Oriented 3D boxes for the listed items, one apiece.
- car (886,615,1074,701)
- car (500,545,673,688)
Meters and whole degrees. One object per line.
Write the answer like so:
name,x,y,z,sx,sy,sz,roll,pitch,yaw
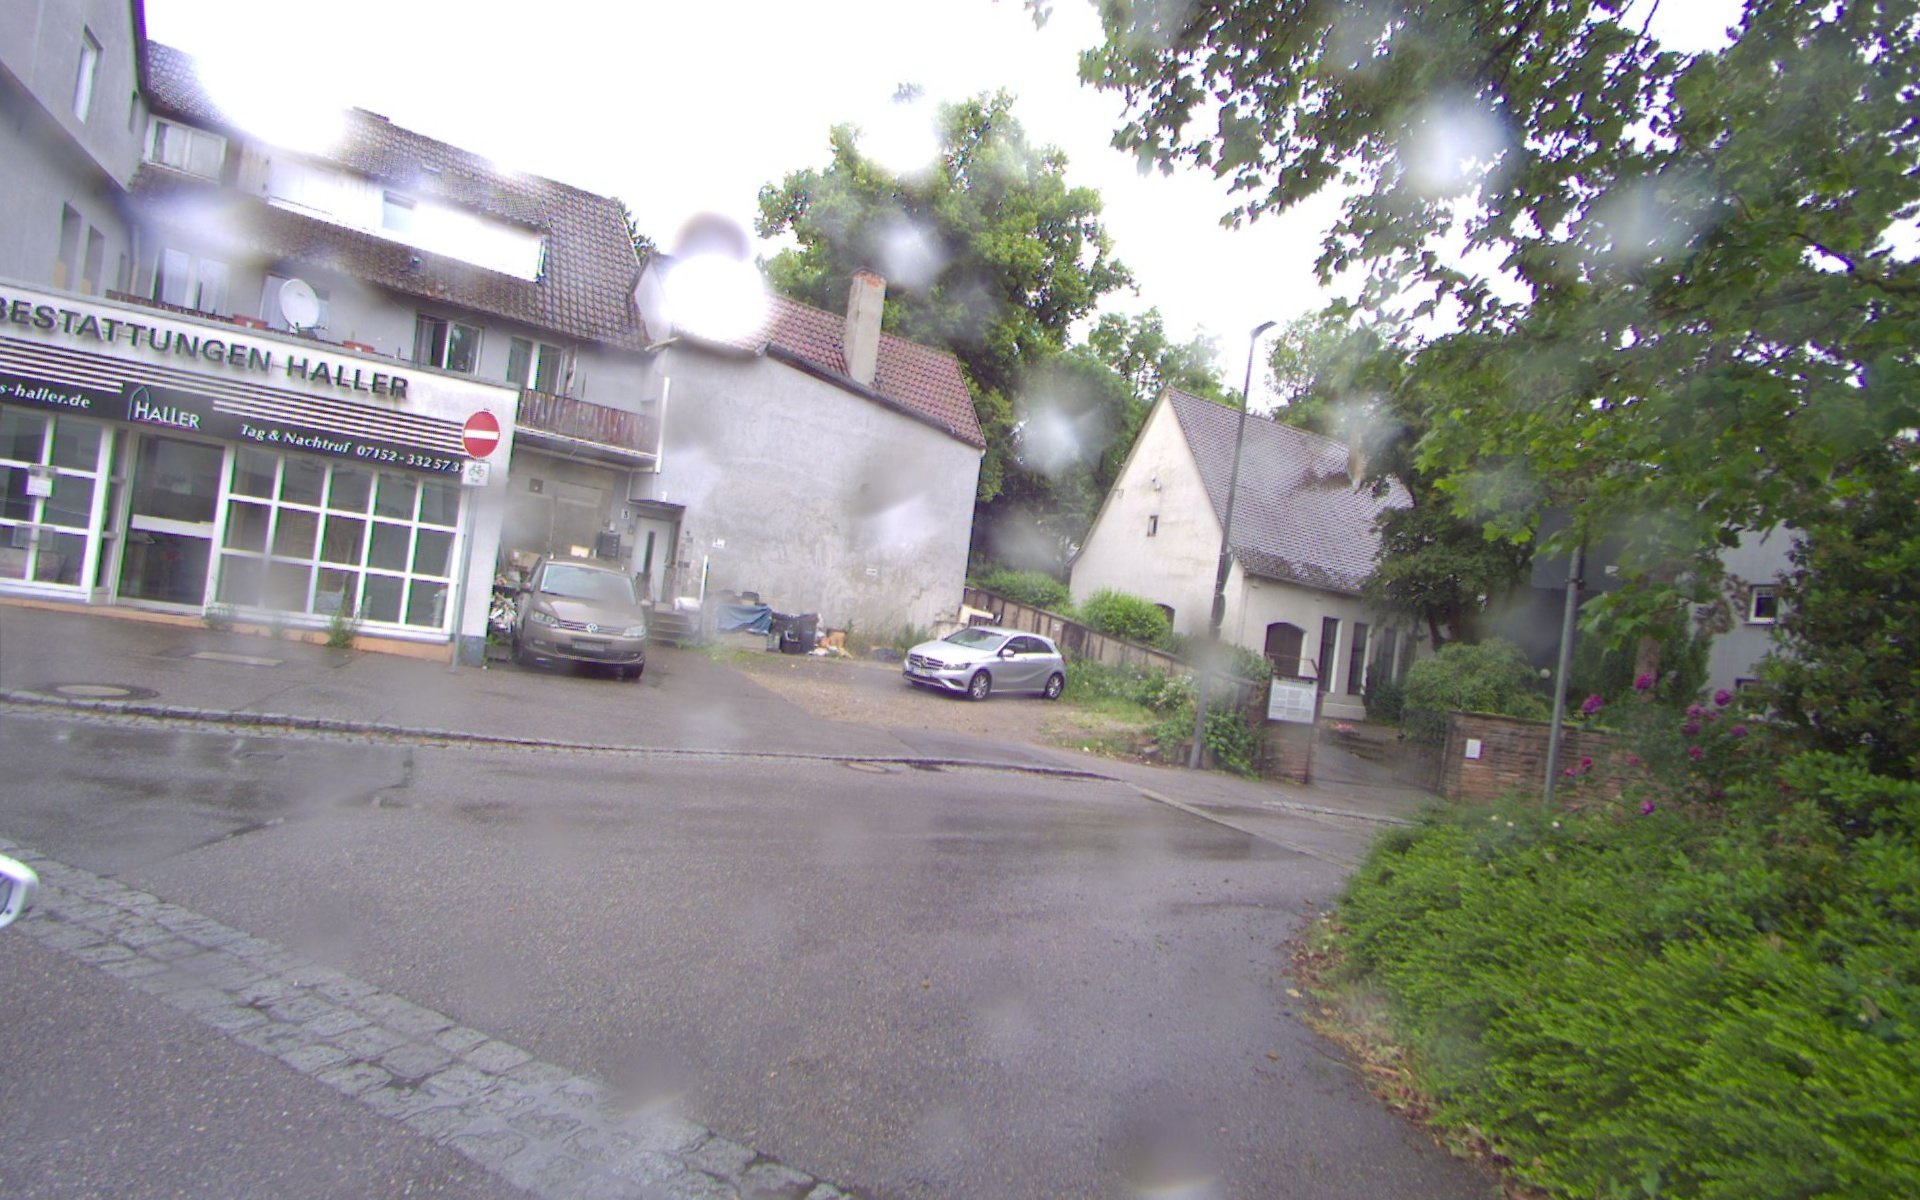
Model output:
car,0.509,1.283,21.388,1.717,1.406,4.022,10,2,40
car,-6.284,0.157,16.557,1.908,1.749,4.634,8,0,-28
